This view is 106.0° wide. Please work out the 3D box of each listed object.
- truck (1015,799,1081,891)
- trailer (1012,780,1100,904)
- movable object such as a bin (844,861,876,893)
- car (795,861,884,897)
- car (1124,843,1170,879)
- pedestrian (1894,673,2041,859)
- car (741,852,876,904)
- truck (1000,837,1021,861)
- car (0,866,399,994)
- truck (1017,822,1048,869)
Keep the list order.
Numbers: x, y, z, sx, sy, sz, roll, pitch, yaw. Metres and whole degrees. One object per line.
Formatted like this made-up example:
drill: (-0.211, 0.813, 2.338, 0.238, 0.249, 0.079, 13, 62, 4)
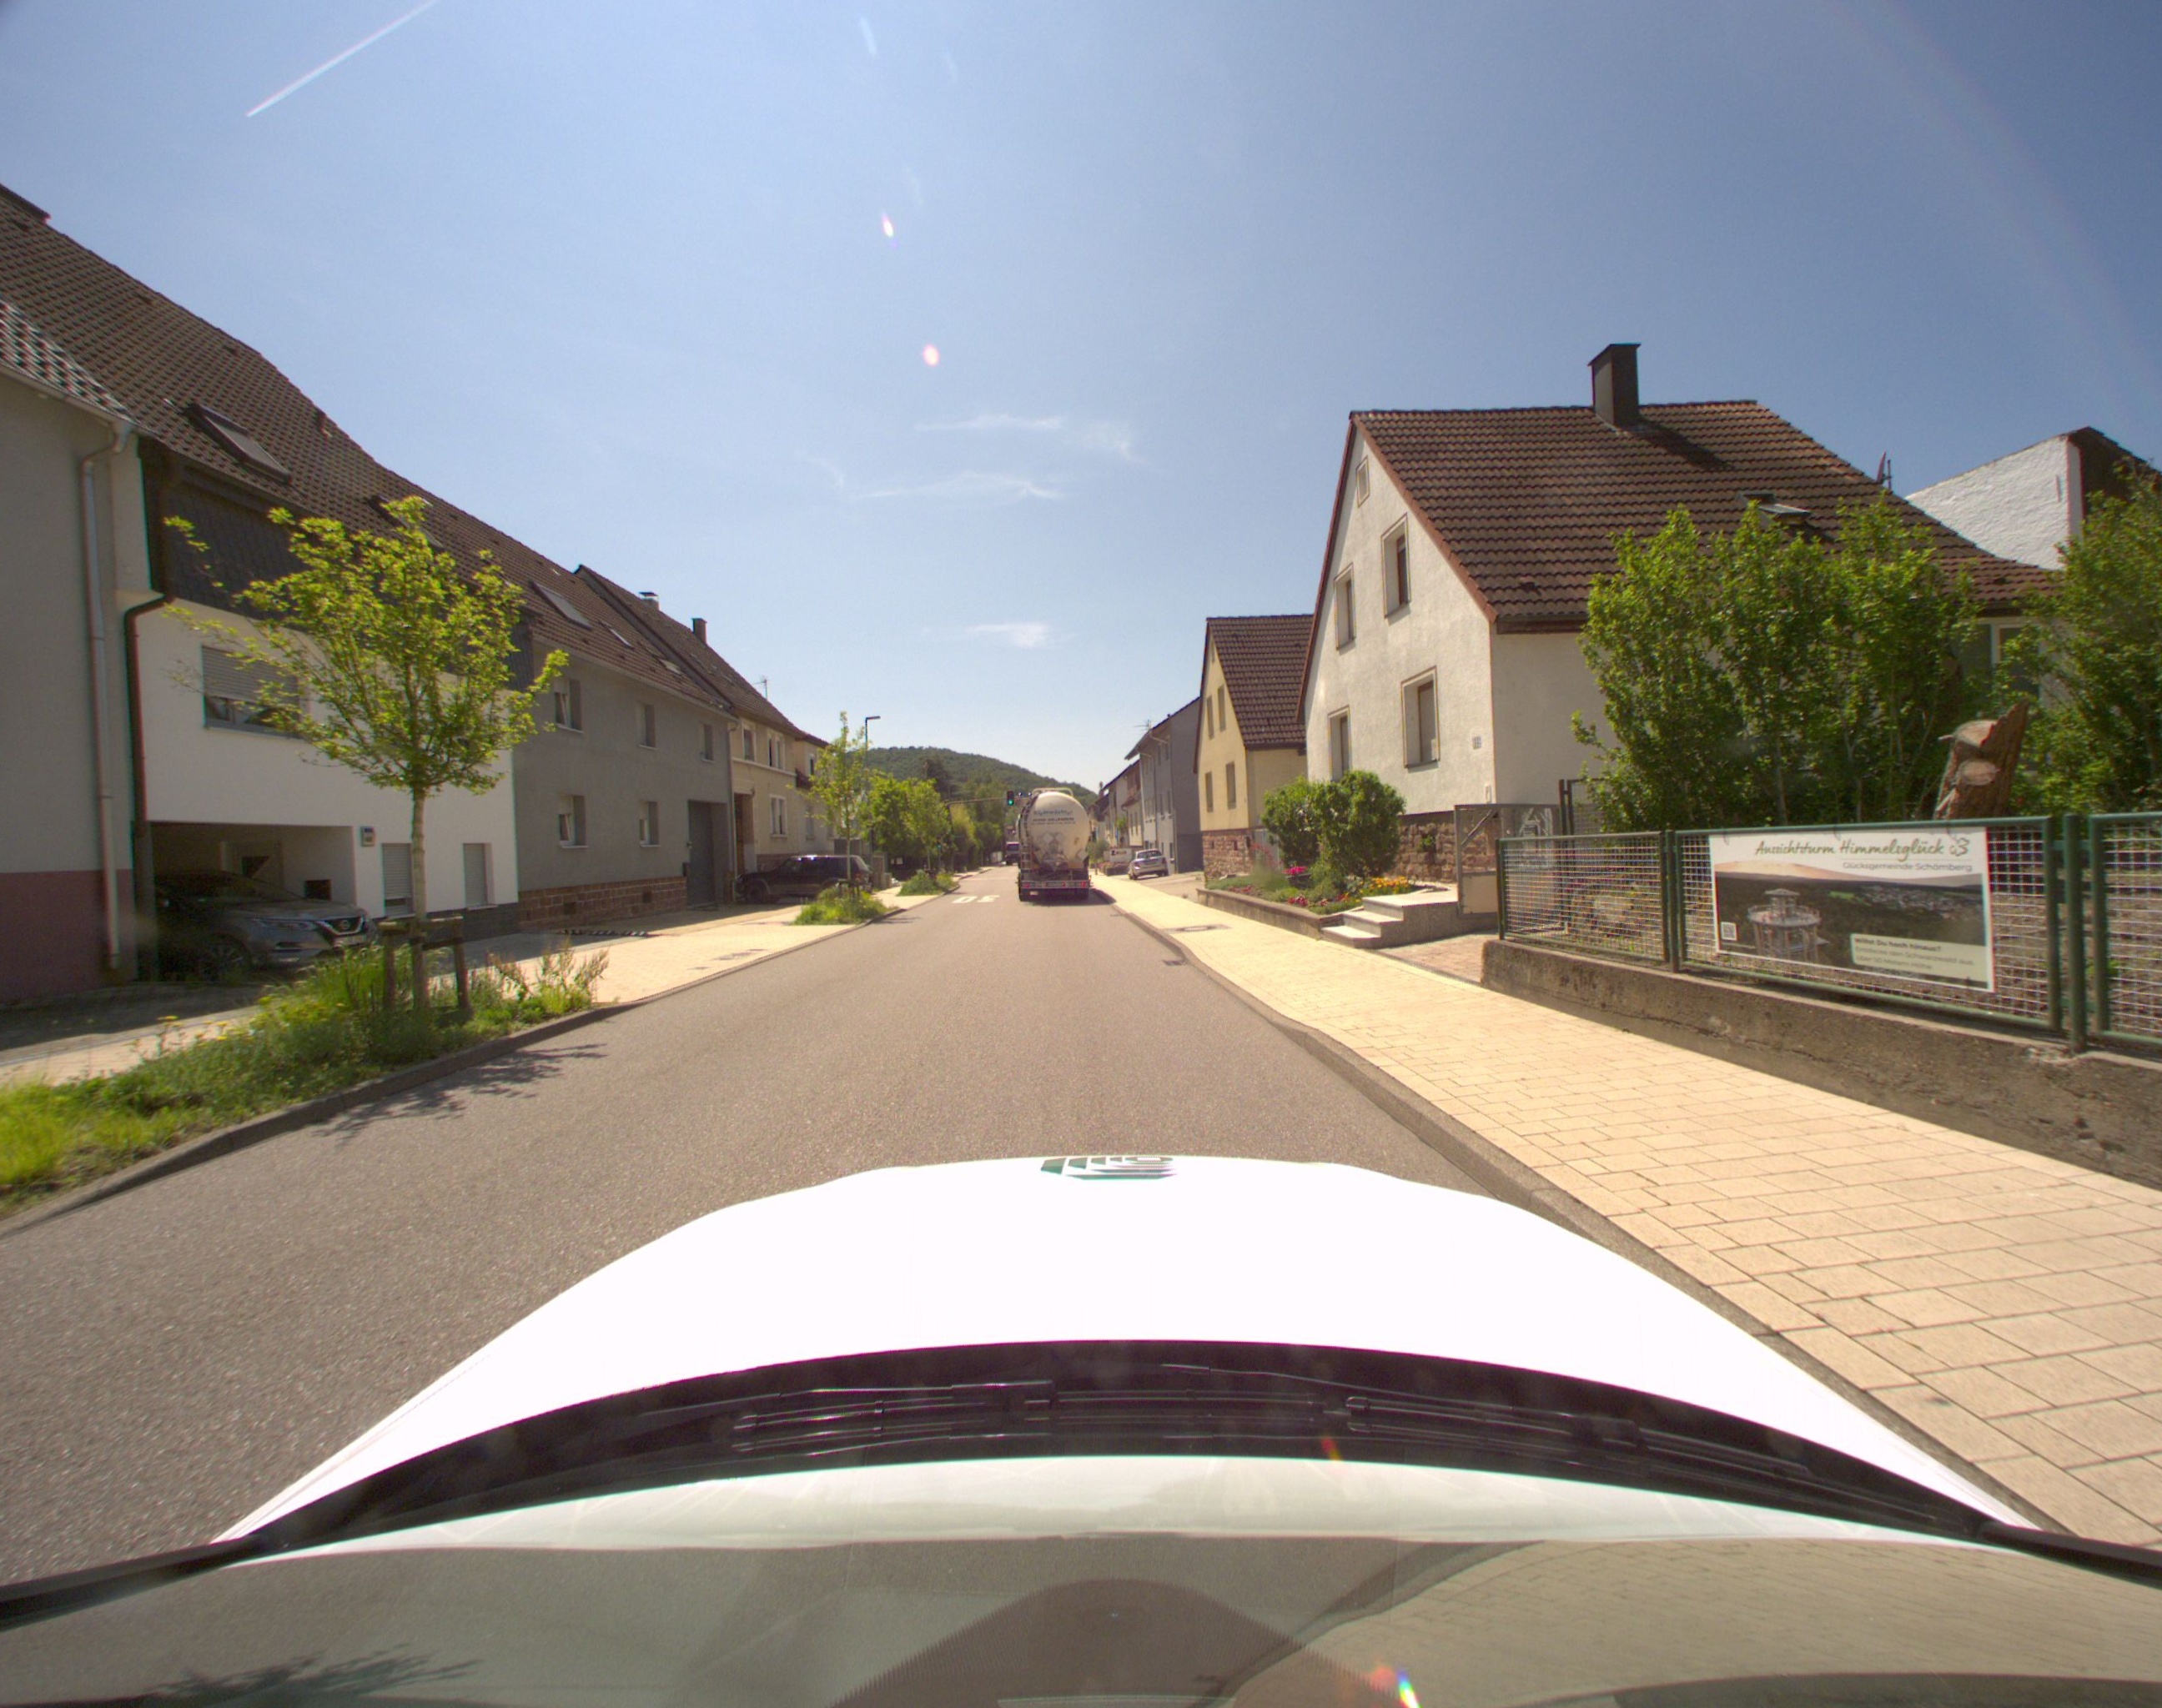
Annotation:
truck: (-1.624, -0.399, 38.255, 2.803, 3.937, 6.090, -1, 0, -4)
trailer: (-1.165, -0.393, 31.864, 2.791, 4.001, 10.309, -1, 0, -4)
movable object such as a bin: (-9.876, 1.033, 36.466, 0.986, 1.319, 1.404, -1, 2, 1)
car: (-10.278, 1.072, 34.620, 3.505, 1.439, 1.709, -2, 0, 32)
car: (3.300, 0.318, 41.661, 1.786, 1.541, 4.518, -7, 0, -1)
pedestrian: (8.272, -0.797, 7.622, 0.603, 1.615, 0.552, -7, 0, -2)
car: (-10.095, 0.868, 30.454, 4.385, 1.750, 1.876, -2, 0, -4)
truck: (-10.488, -0.746, 122.079, 2.722, 3.371, 8.626, -1, 0, -2)
car: (-12.476, 1.010, 11.533, 3.977, 1.545, 1.831, -1, 0, -2)
truck: (-5.321, -0.737, 87.410, 2.843, 4.679, 11.314, 0, -1, -6)
